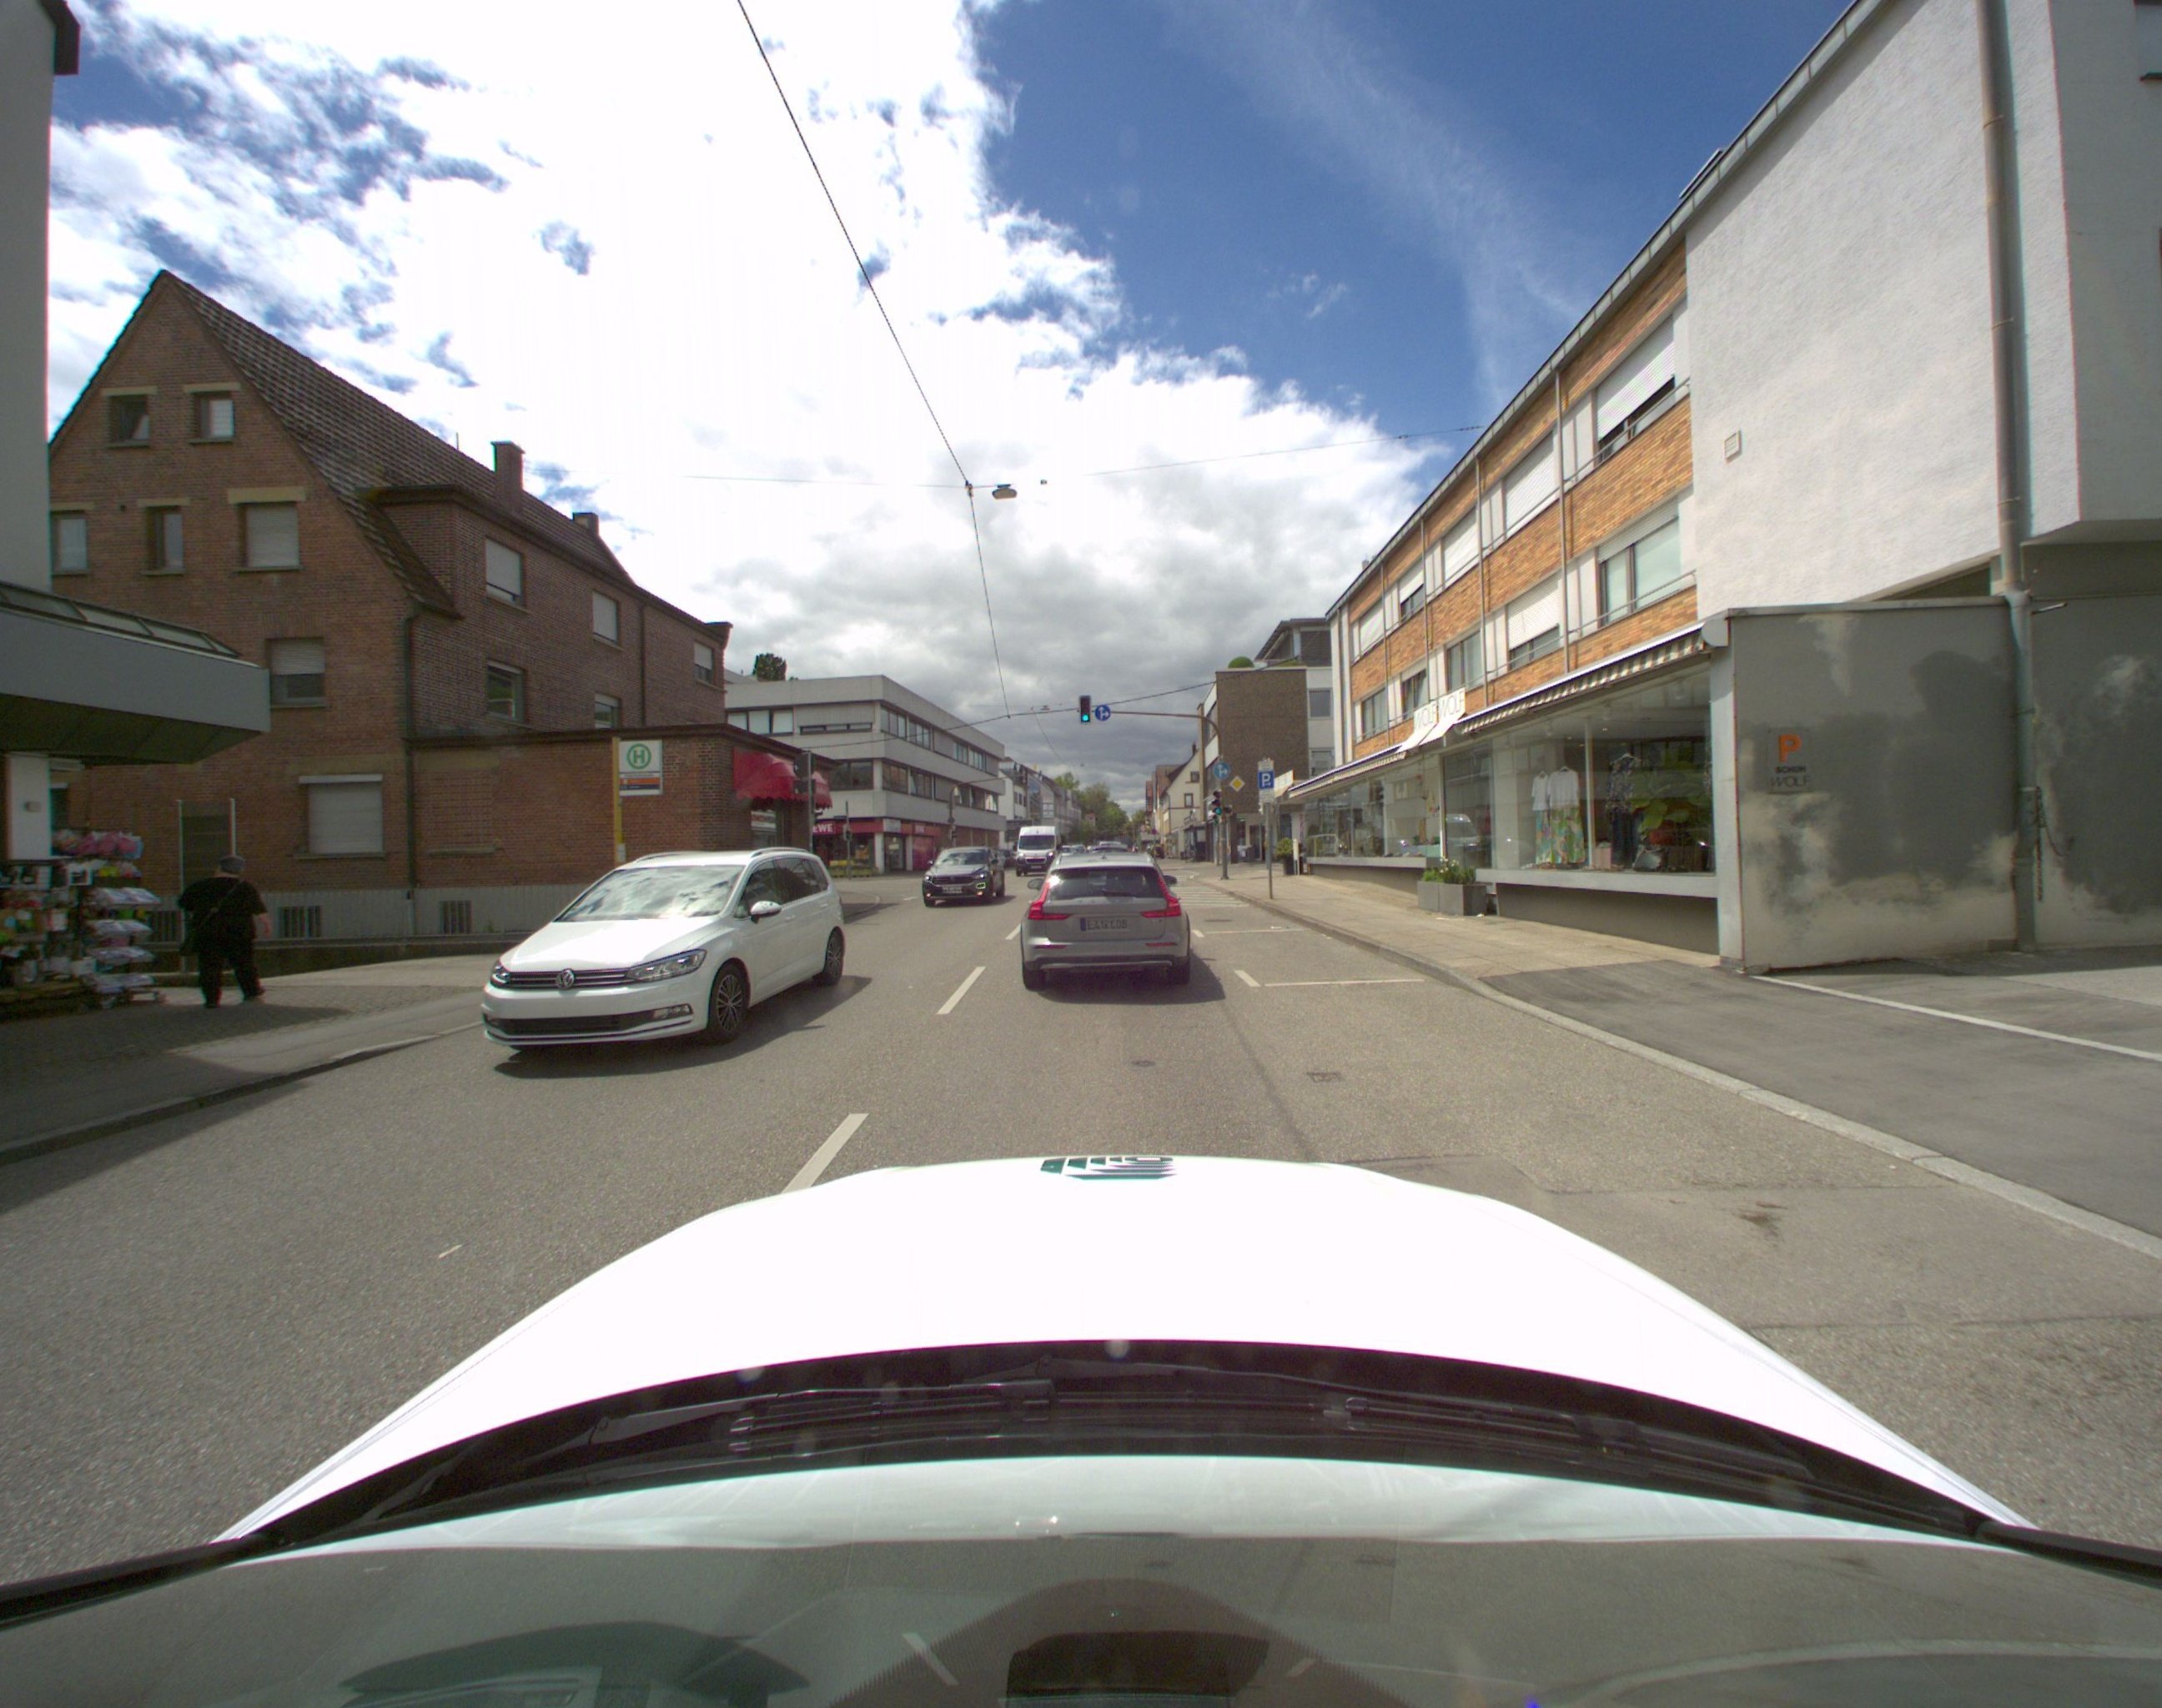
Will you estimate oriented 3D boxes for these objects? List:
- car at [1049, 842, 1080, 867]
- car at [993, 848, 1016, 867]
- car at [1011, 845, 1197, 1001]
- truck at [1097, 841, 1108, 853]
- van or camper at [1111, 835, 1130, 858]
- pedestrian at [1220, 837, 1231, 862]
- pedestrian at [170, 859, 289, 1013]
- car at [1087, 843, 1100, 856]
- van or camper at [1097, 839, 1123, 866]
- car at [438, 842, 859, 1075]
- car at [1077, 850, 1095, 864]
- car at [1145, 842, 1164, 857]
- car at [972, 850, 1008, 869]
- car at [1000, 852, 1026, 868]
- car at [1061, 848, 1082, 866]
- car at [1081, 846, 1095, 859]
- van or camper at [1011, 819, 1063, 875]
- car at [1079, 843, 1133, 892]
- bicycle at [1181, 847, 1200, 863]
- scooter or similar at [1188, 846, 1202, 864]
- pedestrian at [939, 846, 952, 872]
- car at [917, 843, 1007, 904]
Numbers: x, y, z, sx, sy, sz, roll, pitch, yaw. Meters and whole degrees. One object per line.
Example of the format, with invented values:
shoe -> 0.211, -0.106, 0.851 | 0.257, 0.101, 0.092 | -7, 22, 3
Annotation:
car -> -1.133, 0.031, 58.372 | 1.773, 1.640, 4.224 | -3, 0, 3
car -> -6.599, 0.300, 70.579 | 1.601, 1.543, 2.947 | 0, 1, 3
car -> 0.297, 0.672, 10.165 | 1.829, 1.486, 4.002 | -2, 1, 2
truck -> 5.435, -1.803, 203.712 | 2.266, 2.886, 7.085 | -2, 0, 3
van or camper -> 4.849, -0.920, 99.741 | 2.114, 2.686, 4.785 | -2, 0, 3
pedestrian -> 8.962, -0.284, 50.646 | 0.500, 1.459, 0.502 | -5, -1, 15
pedestrian -> -9.097, 0.845, 8.730 | 0.776, 1.558, 0.567 | 1, -2, -39
car -> 1.846, -0.661, 121.078 | 1.831, 1.917, 4.158 | -1, 0, 2
van or camper -> 2.134, -0.077, 60.614 | 1.812, 1.835, 4.001 | -2, -2, 2
car -> -3.766, 0.748, 8.083 | 1.768, 1.612, 4.122 | -3, 1, 2
car -> 0.579, 0.319, 89.465 | 1.676, 1.497, 3.970 | -2, 0, 3
car -> 7.913, -0.448, 87.559 | 1.705, 1.464, 3.999 | -1, -1, 0
car -> -7.153, 0.388, 64.691 | 1.894, 1.443, 4.451 | 0, 1, 6
car -> -6.368, 0.551, 76.779 | 1.747, 1.426, 3.867 | -2, 0, 5
car -> -0.822, 0.268, 74.347 | 1.783, 1.589, 4.101 | -2, 0, 0
car -> 0.931, -0.218, 109.950 | 1.661, 1.554, 4.219 | -2, 0, 3
van or camper -> -2.156, -0.370, 41.400 | 2.141, 2.556, 5.438 | -3, 1, 1
car -> 0.824, 0.418, 26.679 | 1.644, 1.482, 3.609 | -1, 0, 2
bicycle -> 8.443, 0.078, 62.725 | 0.555, 1.144, 2.288 | -3, 0, -15
scooter or similar -> 8.346, 0.078, 59.803 | 0.342, 1.253, 1.236 | -4, 0, -23
pedestrian -> -8.611, 0.329, 51.910 | 0.616, 1.641, 0.661 | -2, 0, 3
car -> -3.224, 0.505, 22.756 | 1.784, 1.511, 3.846 | -2, 0, 2
